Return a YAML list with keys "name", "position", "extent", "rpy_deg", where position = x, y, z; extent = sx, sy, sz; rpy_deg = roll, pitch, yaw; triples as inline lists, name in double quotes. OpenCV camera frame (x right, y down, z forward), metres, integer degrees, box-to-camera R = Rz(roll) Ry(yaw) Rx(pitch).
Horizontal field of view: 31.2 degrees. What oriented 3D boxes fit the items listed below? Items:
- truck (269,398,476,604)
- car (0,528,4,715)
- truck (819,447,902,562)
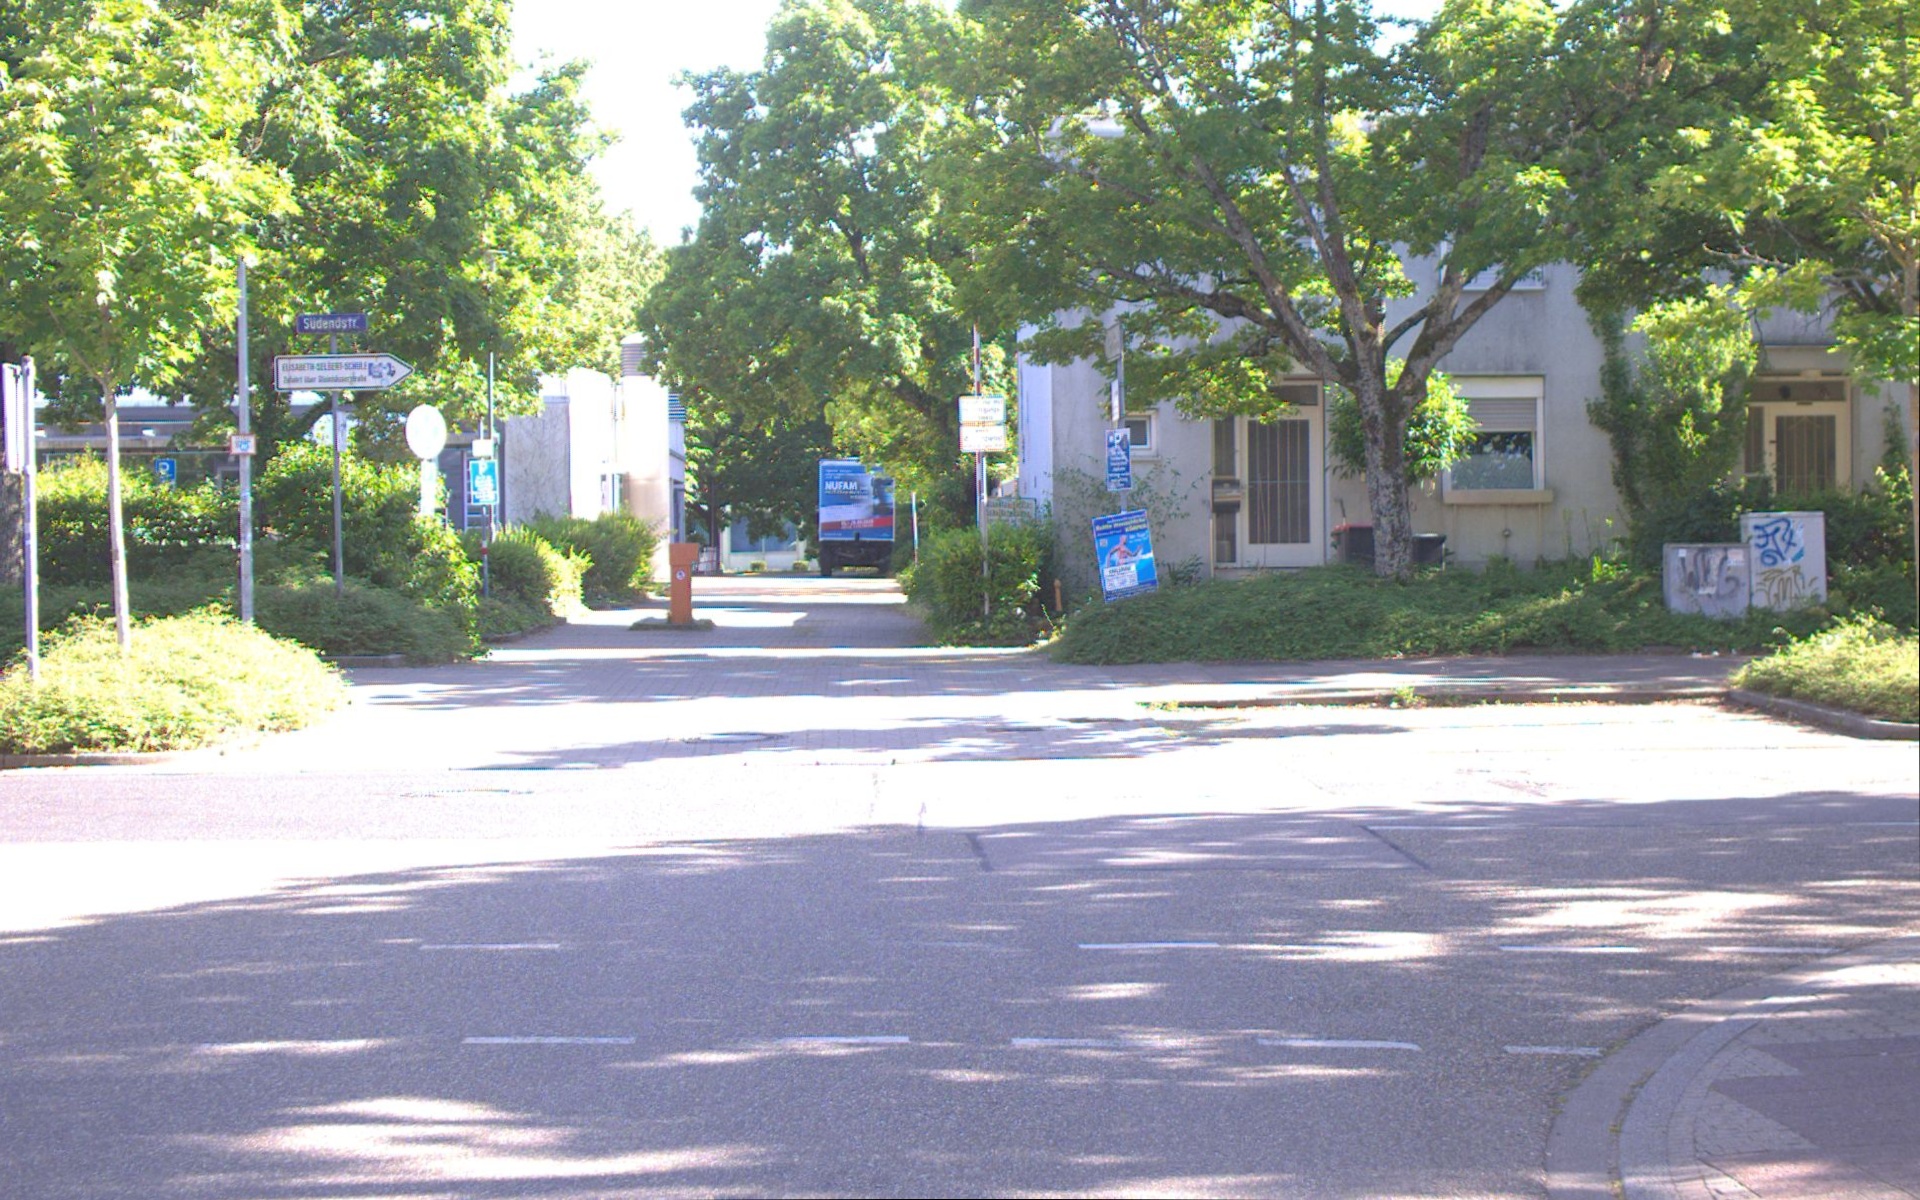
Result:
- name: "truck"
  position: [-11.383, -1.916, 67.187]
  extent: [2.802, 3.793, 6.925]
  rpy_deg: [1, 1, 0]
- name: "car"
  position: [-8.758, 0.118, 26.144]
  extent: [1.874, 1.840, 4.169]
  rpy_deg: [-1, 3, -1]
- name: "truck"
  position: [-3.451, -3.353, 120.864]
  extent: [2.760, 3.856, 9.330]
  rpy_deg: [1, 1, -1]
